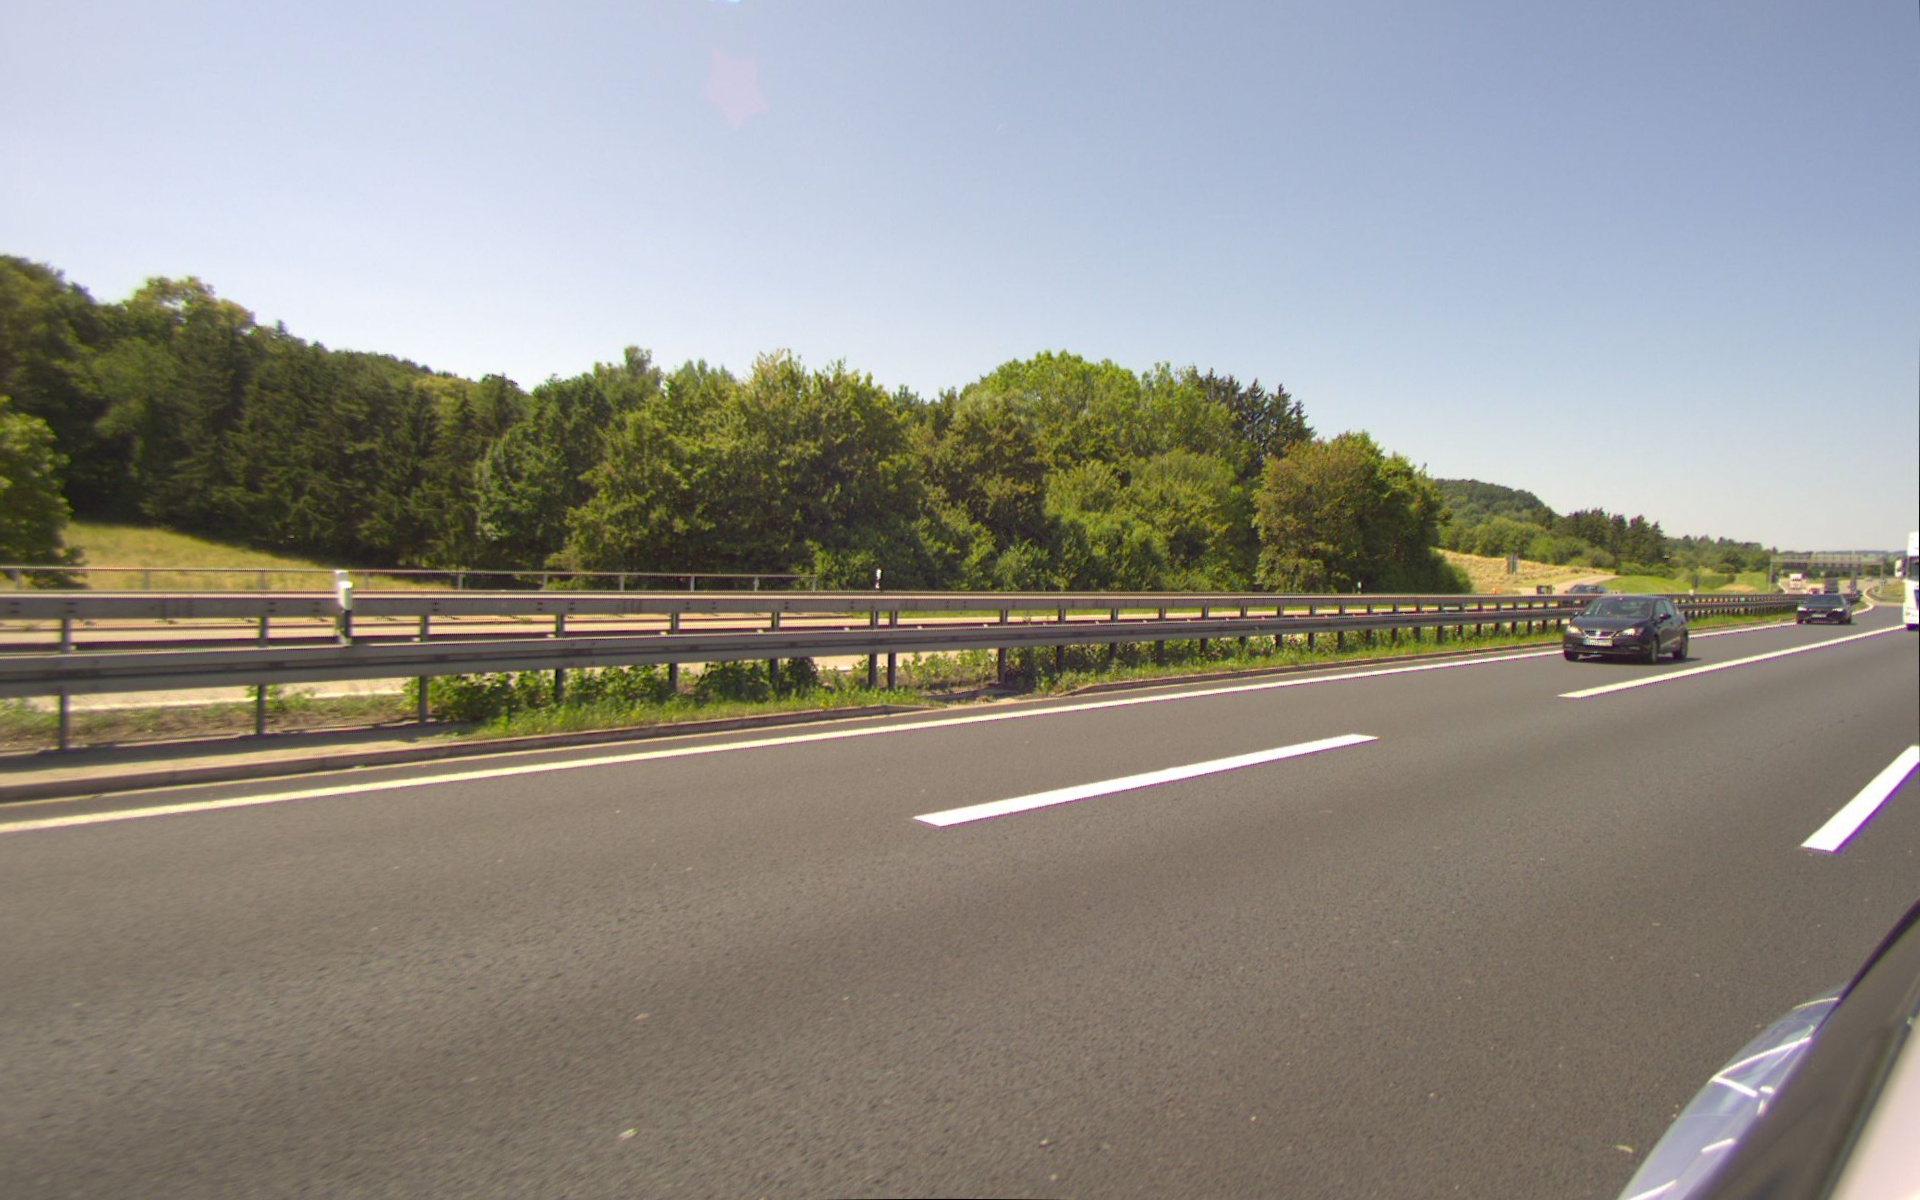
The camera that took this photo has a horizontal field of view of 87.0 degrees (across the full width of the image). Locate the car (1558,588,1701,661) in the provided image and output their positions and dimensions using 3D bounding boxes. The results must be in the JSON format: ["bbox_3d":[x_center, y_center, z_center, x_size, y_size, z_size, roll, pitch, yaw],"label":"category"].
[{"bbox_3d":[14.590,0.465,22.003,3.698,1.417,1.779,-1,1,-43],"label":"car"}]

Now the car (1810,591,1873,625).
[{"bbox_3d":[41.589,0.350,47.725,3.803,1.491,1.889,-1,1,-44],"label":"car"}]

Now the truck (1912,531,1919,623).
[{"bbox_3d":[39.915,-0.909,40.306,4.330,3.637,2.645,-1,1,-43],"label":"truck"}]

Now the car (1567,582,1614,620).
[{"bbox_3d":[35.054,0.006,56.217,1.988,2.039,3.949,1,1,36],"label":"car"}]
